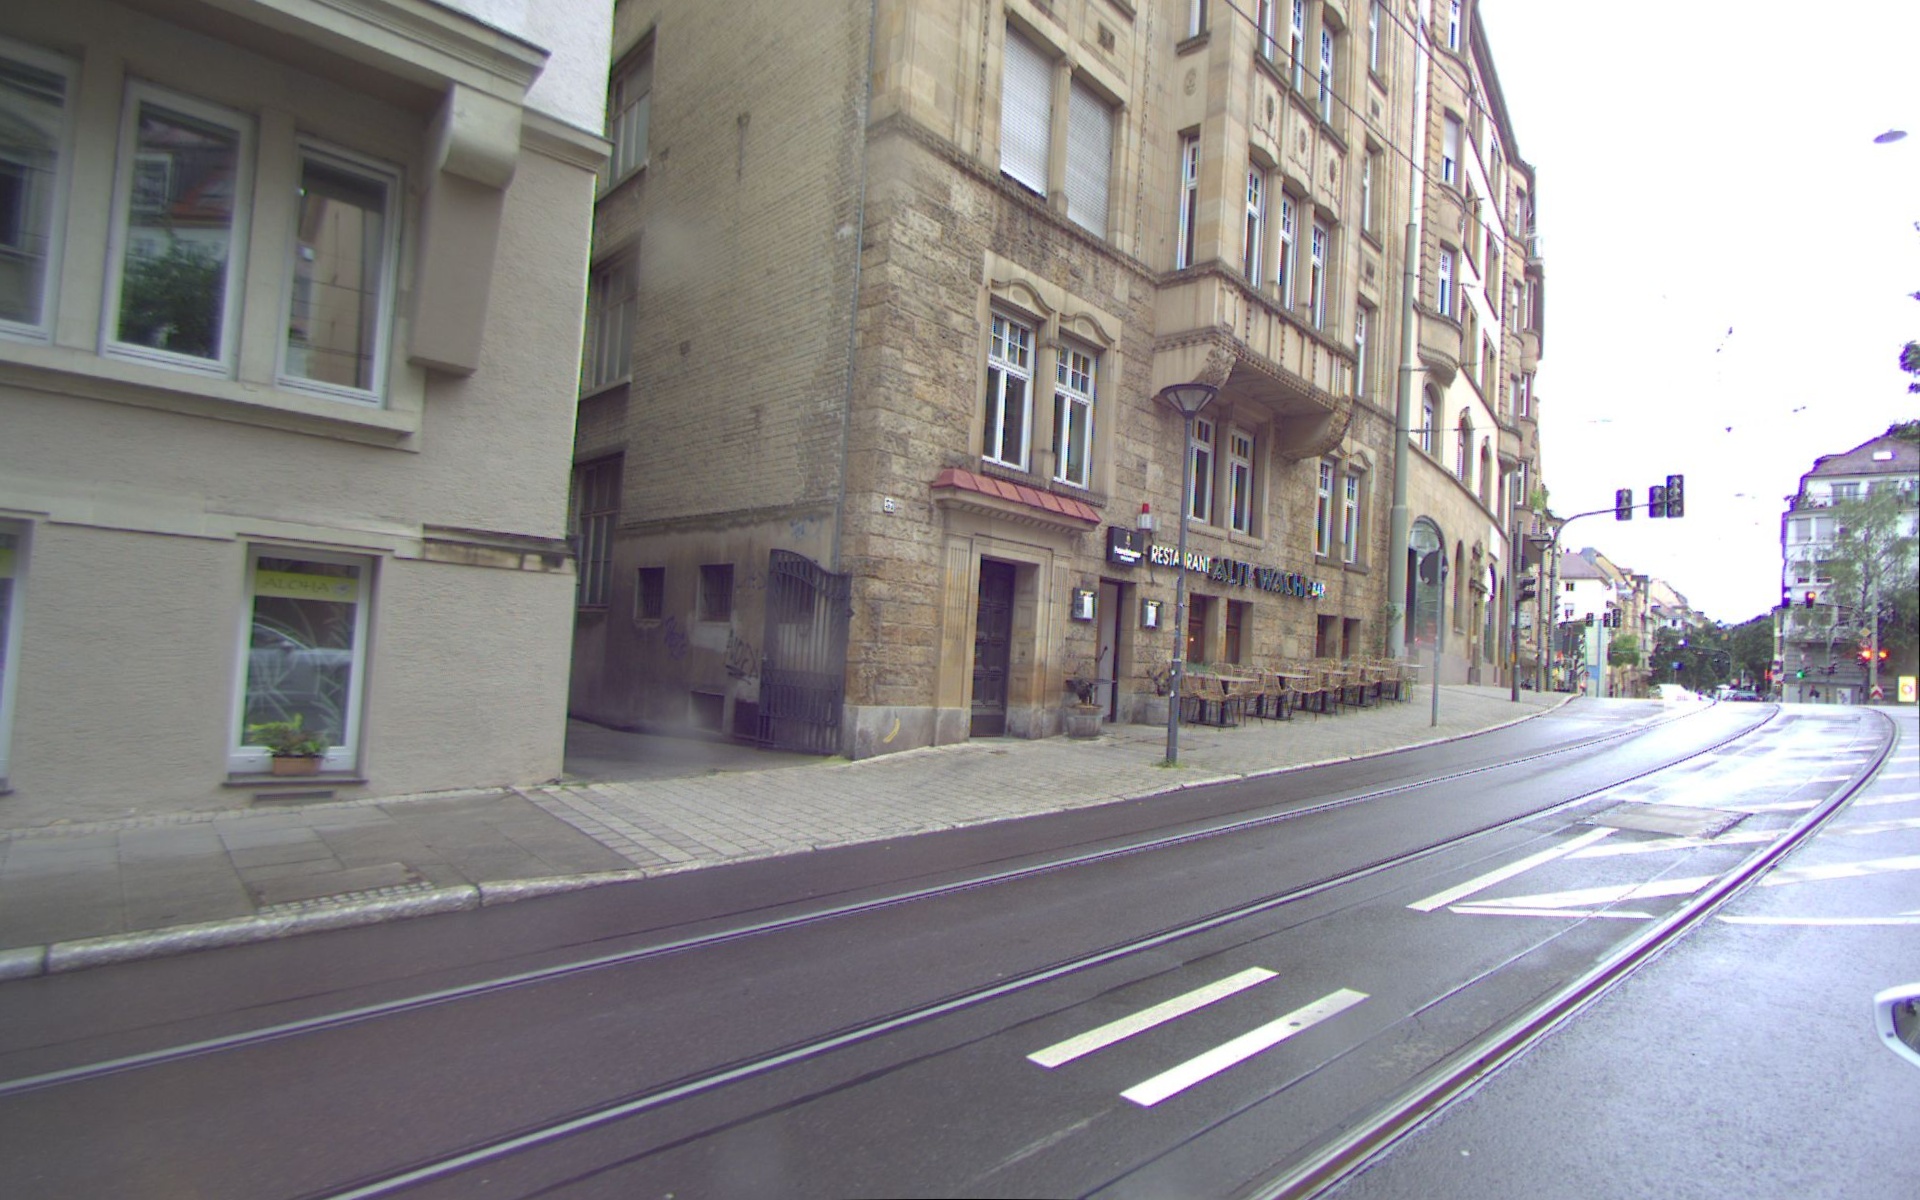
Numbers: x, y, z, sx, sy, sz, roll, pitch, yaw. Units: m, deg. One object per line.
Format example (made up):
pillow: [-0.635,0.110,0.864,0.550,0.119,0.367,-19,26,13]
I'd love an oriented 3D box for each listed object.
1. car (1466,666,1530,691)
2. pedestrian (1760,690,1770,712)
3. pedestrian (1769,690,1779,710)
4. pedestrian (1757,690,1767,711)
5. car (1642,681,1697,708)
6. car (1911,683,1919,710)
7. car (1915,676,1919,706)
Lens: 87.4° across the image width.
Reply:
car: [38.519,5.598,71.963,3.932,1.530,1.795,0,-2,33]
pedestrian: [65.936,8.283,82.275,0.640,1.683,0.647,1,-1,40]
pedestrian: [72.923,8.947,89.979,0.640,1.683,0.647,1,-1,40]
pedestrian: [67.505,8.459,84.548,0.640,1.683,0.647,1,-1,40]
car: [48.428,6.416,68.687,1.764,1.530,4.667,0,-2,19]
car: [61.887,6.036,62.661,3.930,1.635,1.796,1,-2,-12]
car: [50.668,4.603,51.278,3.954,1.530,1.786,2,-4,-31]
